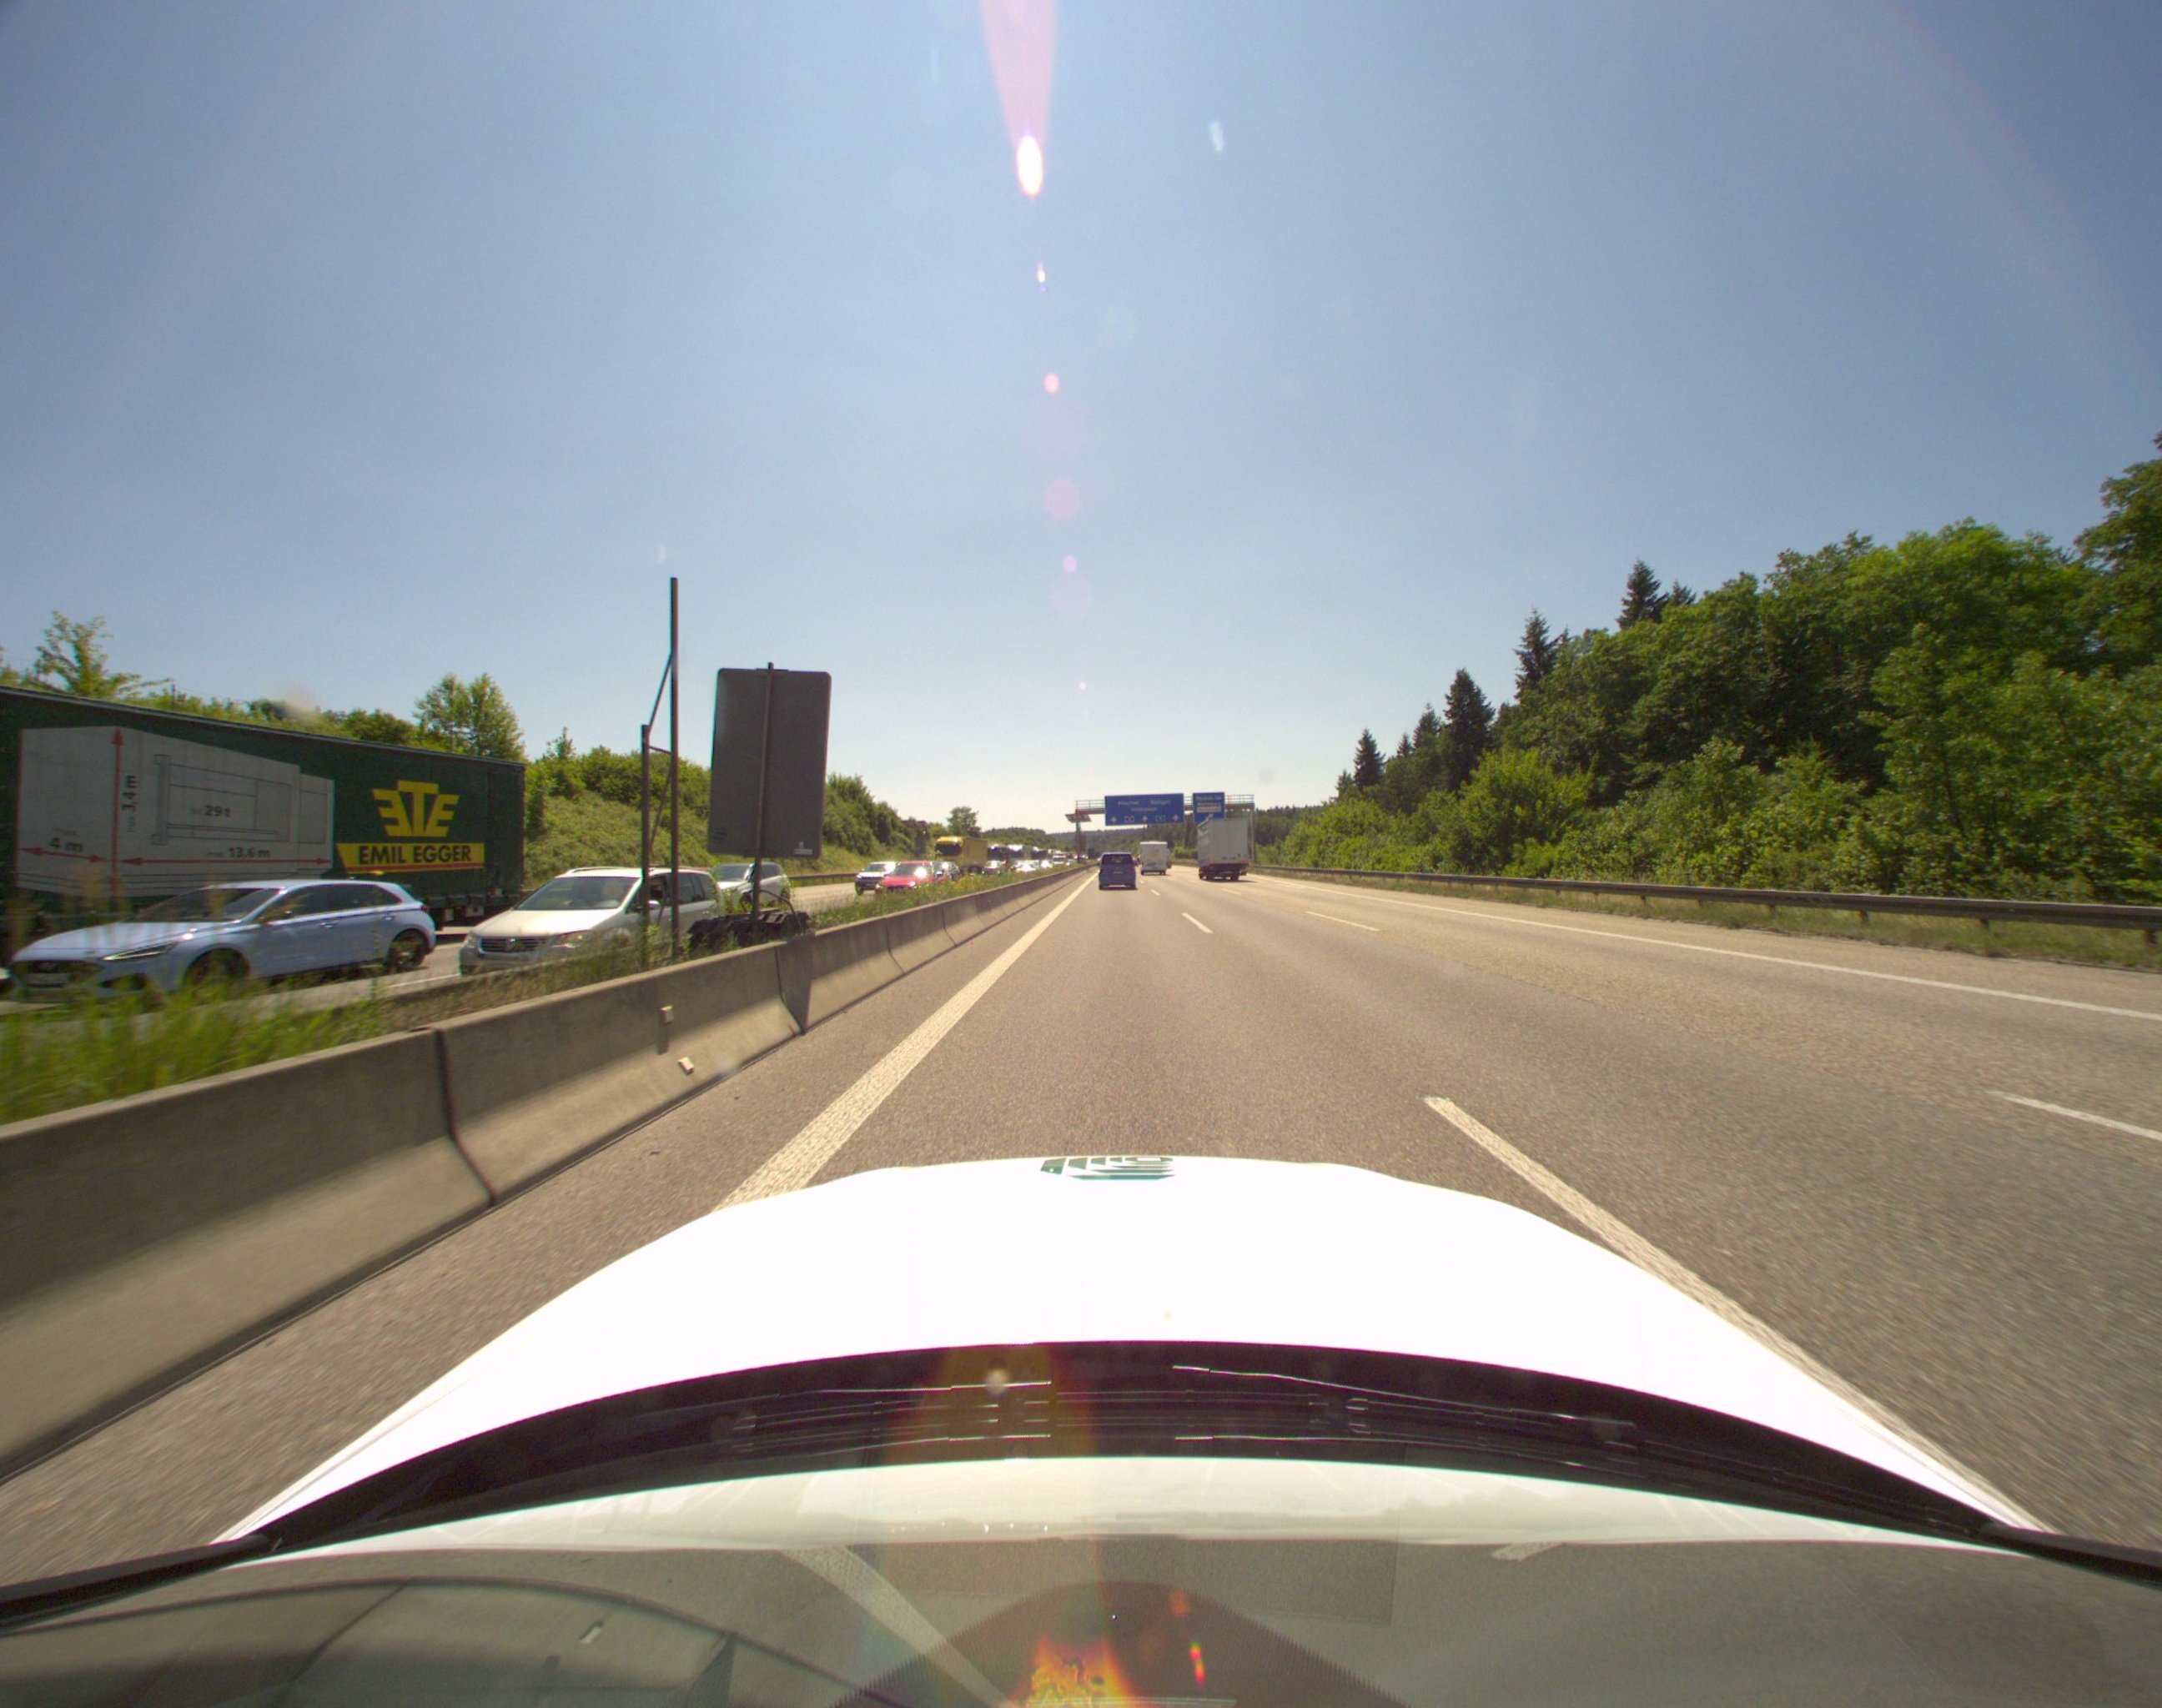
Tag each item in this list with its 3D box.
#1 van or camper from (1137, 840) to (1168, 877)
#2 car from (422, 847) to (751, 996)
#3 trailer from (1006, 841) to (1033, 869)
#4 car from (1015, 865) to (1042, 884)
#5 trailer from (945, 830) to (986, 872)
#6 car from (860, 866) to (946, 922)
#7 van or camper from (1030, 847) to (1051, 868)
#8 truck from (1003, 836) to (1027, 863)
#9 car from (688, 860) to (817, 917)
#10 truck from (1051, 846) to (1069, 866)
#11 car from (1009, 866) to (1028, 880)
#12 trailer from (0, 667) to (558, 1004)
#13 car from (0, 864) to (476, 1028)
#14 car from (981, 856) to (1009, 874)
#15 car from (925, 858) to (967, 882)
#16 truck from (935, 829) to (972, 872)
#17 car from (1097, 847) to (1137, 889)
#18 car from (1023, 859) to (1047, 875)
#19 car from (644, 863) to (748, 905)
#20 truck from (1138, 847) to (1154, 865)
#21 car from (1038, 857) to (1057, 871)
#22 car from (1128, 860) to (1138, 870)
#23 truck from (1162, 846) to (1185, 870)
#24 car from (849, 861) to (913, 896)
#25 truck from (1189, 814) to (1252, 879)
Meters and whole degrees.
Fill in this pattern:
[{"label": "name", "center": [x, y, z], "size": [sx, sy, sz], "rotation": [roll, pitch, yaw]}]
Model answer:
[{"label": "van or camper", "center": [6.659, 0.376, 76.304], "size": [2.593, 3.078, 7.188], "rotation": [0, 2, 2]}, {"label": "car", "center": [-6.895, 0.833, 12.200], "size": [1.821, 1.764, 4.991], "rotation": [0, -1, 1]}, {"label": "trailer", "center": [-10.192, 0.240, 135.838], "size": [2.769, 4.305, 11.721], "rotation": [-2, -1, 4]}, {"label": "car", "center": [-4.408, 1.685, 68.969], "size": [1.804, 1.513, 4.820], "rotation": [-1, -1, 3]}, {"label": "trailer", "center": [-12.347, -0.165, 88.047], "size": [2.641, 4.145, 11.855], "rotation": [0, -2, 1]}, {"label": "car", "center": [-6.066, 1.306, 28.321], "size": [1.821, 1.764, 4.991], "rotation": [0, -1, 1]}, {"label": "van or camper", "center": [-6.439, 0.583, 130.342], "size": [2.518, 3.360, 7.951], "rotation": [-1, -1, 4]}, {"label": "truck", "center": [-10.540, -0.678, 130.697], "size": [2.769, 4.114, 7.037], "rotation": [-2, -1, 4]}, {"label": "car", "center": [-10.340, 1.040, 26.122], "size": [1.804, 1.629, 5.222], "rotation": [-1, -1, 3]}, {"label": "truck", "center": [-2.973, 0.297, 117.229], "size": [2.111, 2.842, 6.216], "rotation": [-1, -1, 3]}, {"label": "car", "center": [-7.596, 2.325, 99.780], "size": [1.768, 1.613, 4.561], "rotation": [-1, -1, 3]}, {"label": "trailer", "center": [-14.906, -0.176, 14.204], "size": [2.831, 4.262, 12.793], "rotation": [-1, -1, 2]}, {"label": "car", "center": [-11.233, 1.033, 11.347], "size": [1.821, 1.764, 4.991], "rotation": [0, -1, 1]}, {"label": "car", "center": [-8.553, 1.067, 81.433], "size": [1.855, 1.752, 5.905], "rotation": [-1, -1, 3]}, {"label": "car", "center": [-9.359, 1.109, 57.067], "size": [1.804, 1.629, 5.385], "rotation": [-1, -1, 3]}, {"label": "truck", "center": [-12.511, -0.256, 80.254], "size": [2.593, 4.064, 6.133], "rotation": [0, -1, 1]}, {"label": "car", "center": [1.853, 0.691, 42.227], "size": [1.902, 2.013, 4.002], "rotation": [-2, 0, 2]}, {"label": "car", "center": [-4.497, 1.276, 79.995], "size": [1.804, 1.513, 5.033], "rotation": [-1, -1, 3]}, {"label": "car", "center": [-14.477, 1.088, 30.899], "size": [1.804, 1.467, 4.125], "rotation": [-1, -1, 3]}, {"label": "truck", "center": [15.151, 0.485, 191.523], "size": [3.473, 4.170, 8.647], "rotation": [-1, -1, 2]}, {"label": "car", "center": [-3.864, 1.134, 94.149], "size": [1.804, 1.513, 5.033], "rotation": [-1, -1, 3]}, {"label": "car", "center": [10.042, 2.120, 156.159], "size": [1.811, 1.794, 3.896], "rotation": [-1, -1, 2]}, {"label": "truck", "center": [14.499, 0.550, 127.676], "size": [2.916, 3.575, 8.533], "rotation": [-2, 0, 3]}, {"label": "car", "center": [-10.000, 1.184, 41.150], "size": [1.804, 1.629, 4.911], "rotation": [-1, -1, 3]}, {"label": "truck", "center": [9.454, -0.421, 56.443], "size": [2.774, 4.128, 9.739], "rotation": [0, -1, 0]}]
